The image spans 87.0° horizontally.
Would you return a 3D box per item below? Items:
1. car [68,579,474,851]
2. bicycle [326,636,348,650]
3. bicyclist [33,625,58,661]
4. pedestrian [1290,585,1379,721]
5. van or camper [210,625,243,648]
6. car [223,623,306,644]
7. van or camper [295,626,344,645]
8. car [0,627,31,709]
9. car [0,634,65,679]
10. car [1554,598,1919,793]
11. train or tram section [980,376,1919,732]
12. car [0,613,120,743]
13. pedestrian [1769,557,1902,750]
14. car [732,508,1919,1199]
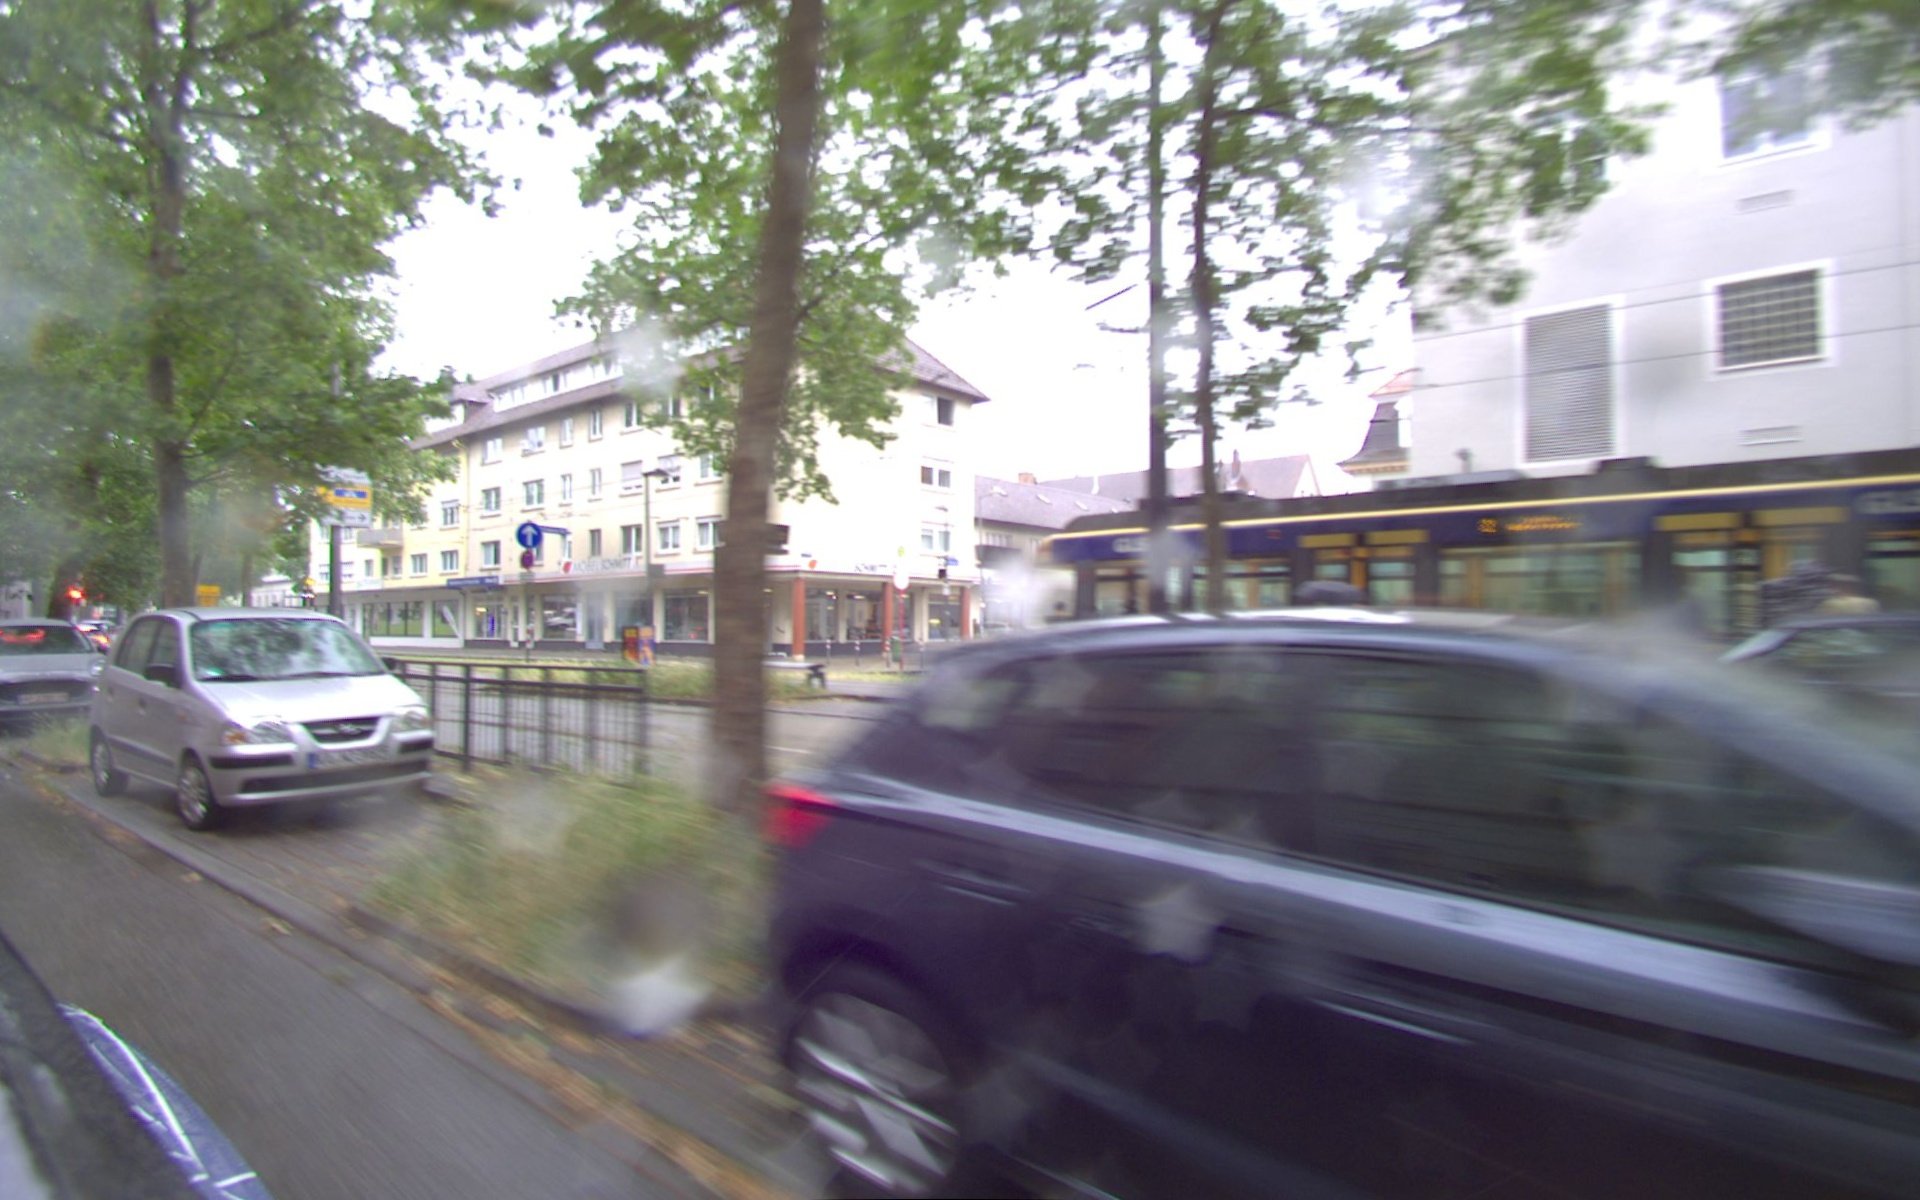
[{"bbox_3d":[-5.584,0.779,8.063,3.653,1.694,1.609,-2,-2,37],"label":"car"},{"bbox_3d":[-39.987,2.764,64.942,2.045,0.903,0.605,-1,-2,41],"label":"bicycle"},{"bbox_3d":[-44.214,2.069,48.933,0.889,1.729,0.705,0,-2,38],"label":"bicyclist"},{"bbox_3d":[4.948,0.684,13.366,0.871,1.717,0.810,-2,-2,39],"label":"pedestrian"},{"bbox_3d":[-80.716,3.980,111.456,2.144,2.490,5.989,1,-2,-29],"label":"van or camper"},{"bbox_3d":[-56.394,2.716,82.175,1.939,1.604,5.286,-1,-2,27],"label":"car"},{"bbox_3d":[-75.960,4.233,120.052,4.582,2.091,2.003,3,-3,-41],"label":"van or camper"},{"bbox_3d":[-20.130,1.325,20.118,4.609,1.515,1.810,-1,-1,39],"label":"car"},{"bbox_3d":[-31.661,1.855,34.051,4.229,1.408,1.724,-2,-2,40],"label":"car"},{"bbox_3d":[7.107,0.694,8.173,3.751,1.353,1.722,-2,0,39],"label":"car"},{"bbox_3d":[6.999,-0.448,14.293,14.561,3.585,3.075,0,-2,39],"label":"train or tram section"},{"bbox_3d":[-13.566,1.032,14.498,4.353,1.648,1.681,-1,-3,42],"label":"car"},{"bbox_3d":[8.273,0.493,9.610,0.871,1.717,0.810,-2,-2,39],"label":"pedestrian"},{"bbox_3d":[1.516,0.644,1.924,4.115,1.512,1.632,-1,0,40],"label":"car"}]
